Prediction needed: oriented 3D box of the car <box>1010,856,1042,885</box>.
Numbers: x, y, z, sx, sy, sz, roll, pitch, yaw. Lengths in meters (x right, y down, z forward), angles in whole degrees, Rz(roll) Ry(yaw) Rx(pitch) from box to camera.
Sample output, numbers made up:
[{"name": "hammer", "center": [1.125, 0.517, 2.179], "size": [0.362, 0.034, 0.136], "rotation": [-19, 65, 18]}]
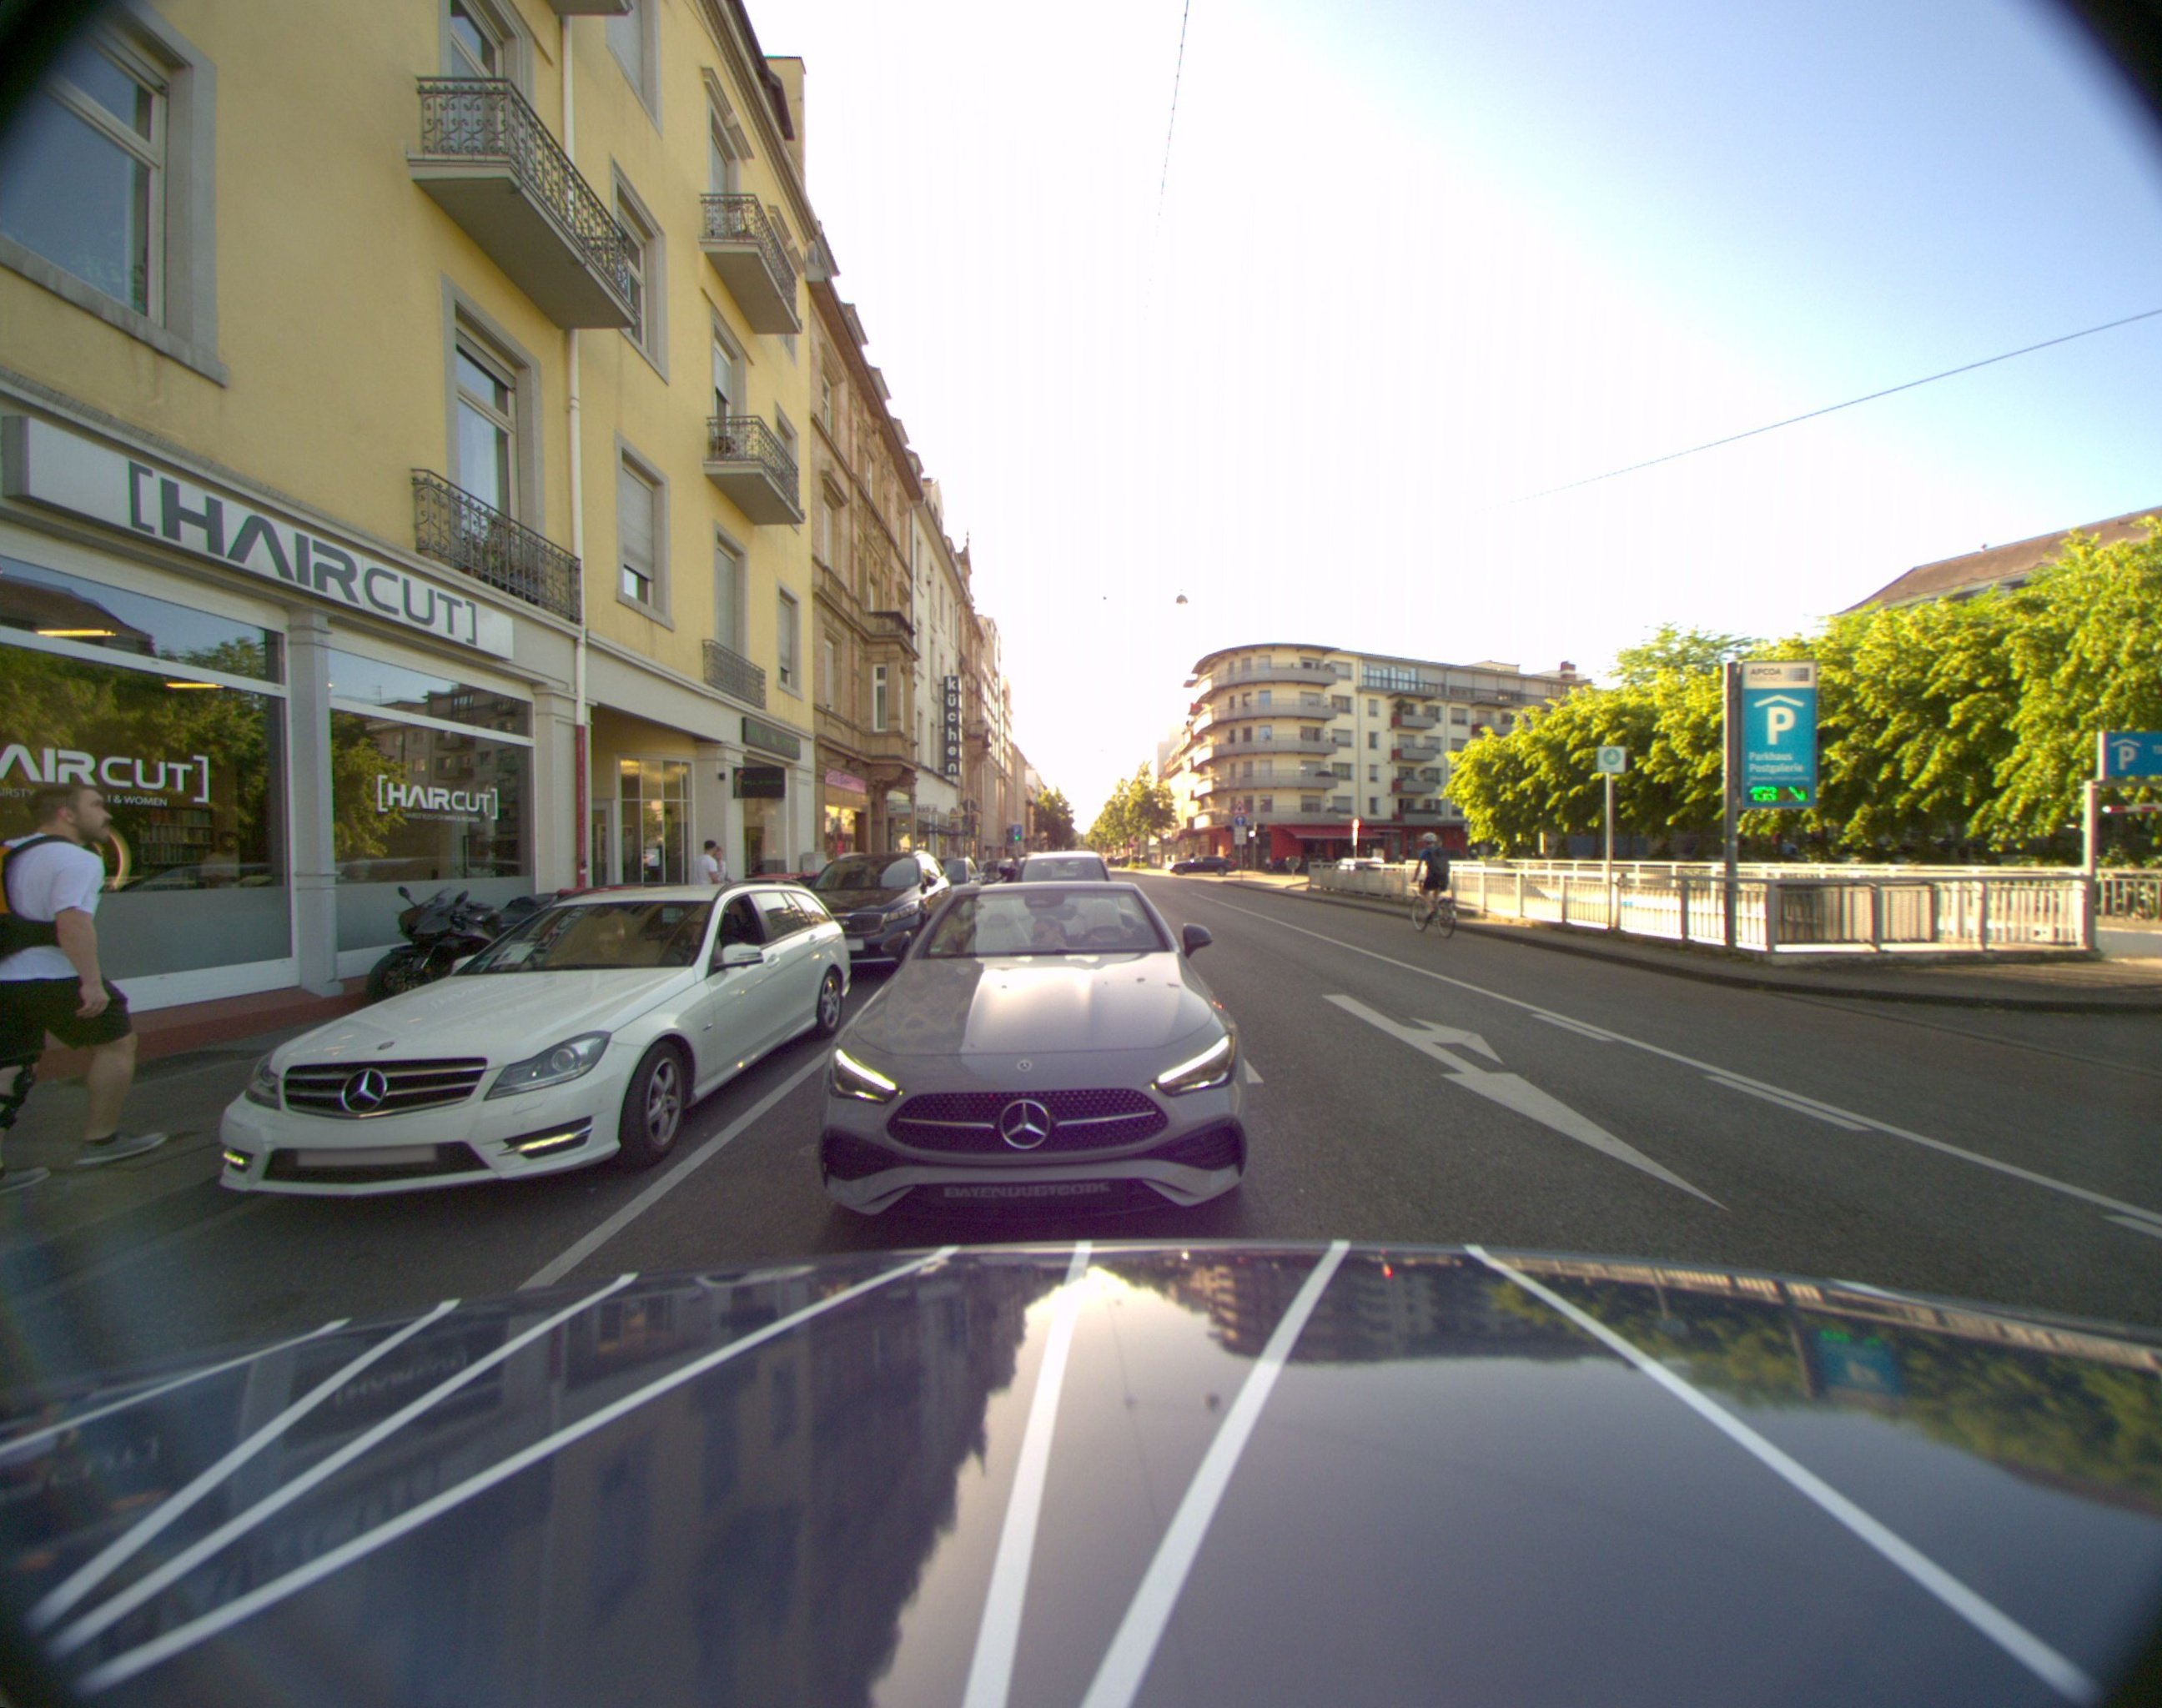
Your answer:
[{"name": "car", "center": [-2.935, 0.864, 40.956], "size": [1.461, 1.391, 3.363], "rotation": [-2, 1, -1]}]

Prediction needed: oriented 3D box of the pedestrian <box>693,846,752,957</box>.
[{"name": "pedestrian", "center": [-6.144, 0.792, 13.067], "size": [0.630, 1.826, 0.770], "rotation": [-2, 1, -7]}]

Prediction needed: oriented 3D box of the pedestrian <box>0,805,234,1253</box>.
[{"name": "pedestrian", "center": [-4.748, 0.702, 3.383], "size": [0.810, 1.812, 0.982], "rotation": [0, 1, 4]}]

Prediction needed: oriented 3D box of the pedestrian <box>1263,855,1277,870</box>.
[{"name": "pedestrian", "center": [14.930, 0.663, 60.044], "size": [0.780, 1.191, 0.884], "rotation": [-2, 1, -10]}]

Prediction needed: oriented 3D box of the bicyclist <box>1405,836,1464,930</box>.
[{"name": "bicyclist", "center": [6.591, 0.525, 14.203], "size": [0.703, 1.700, 0.810], "rotation": [0, 1, 0]}]

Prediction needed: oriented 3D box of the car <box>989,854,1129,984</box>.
[{"name": "car", "center": [-0.360, 0.891, 12.764], "size": [1.866, 1.658, 4.706], "rotation": [-2, 1, -2]}]

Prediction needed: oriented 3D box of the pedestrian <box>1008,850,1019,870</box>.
[{"name": "pedestrian", "center": [-5.977, 0.527, 67.590], "size": [0.826, 1.750, 0.823], "rotation": [-2, 1, -1]}]

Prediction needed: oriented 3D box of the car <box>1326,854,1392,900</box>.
[{"name": "car", "center": [10.537, 0.823, 29.045], "size": [1.636, 1.521, 3.910], "rotation": [-2, 1, 9]}]

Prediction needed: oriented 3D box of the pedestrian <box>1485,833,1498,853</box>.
[{"name": "pedestrian", "center": [38.369, -1.002, 71.034], "size": [0.747, 1.832, 0.684], "rotation": [-2, 1, 1]}]

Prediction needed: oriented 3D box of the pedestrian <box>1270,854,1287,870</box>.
[{"name": "pedestrian", "center": [15.437, 0.651, 59.386], "size": [0.937, 1.191, 0.832], "rotation": [-3, 1, -24]}]

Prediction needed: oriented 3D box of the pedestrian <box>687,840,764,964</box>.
[{"name": "pedestrian", "center": [-5.615, 0.726, 12.020], "size": [0.975, 1.866, 0.534], "rotation": [-3, 1, -31]}]

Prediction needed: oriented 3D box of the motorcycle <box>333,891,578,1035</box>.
[{"name": "motorcycle", "center": [-6.251, 1.021, 7.795], "size": [0.735, 1.124, 2.109], "rotation": [2, 1, 1]}]

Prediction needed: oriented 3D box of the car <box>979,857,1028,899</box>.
[{"name": "car", "center": [-3.020, 0.901, 30.319], "size": [1.695, 1.482, 3.796], "rotation": [-2, 1, -3]}]

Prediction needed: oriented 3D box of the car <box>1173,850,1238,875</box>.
[{"name": "car", "center": [8.638, 0.571, 52.472], "size": [4.242, 1.521, 1.678], "rotation": [-2, 1, 14]}]

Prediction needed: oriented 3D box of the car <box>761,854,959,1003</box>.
[{"name": "car", "center": [-3.008, 0.888, 11.344], "size": [1.806, 1.680, 4.408], "rotation": [-2, 1, -3]}]

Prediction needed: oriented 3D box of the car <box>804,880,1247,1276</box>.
[{"name": "car", "center": [-0.277, 0.995, 5.364], "size": [1.769, 1.360, 4.471], "rotation": [-2, 1, -2]}]

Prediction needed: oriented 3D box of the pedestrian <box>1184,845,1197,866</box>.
[{"name": "pedestrian", "center": [9.958, 0.122, 69.165], "size": [0.990, 1.908, 0.790], "rotation": [-2, 1, -3]}]

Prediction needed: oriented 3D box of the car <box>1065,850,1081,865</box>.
[{"name": "car", "center": [-0.914, 0.400, 87.357], "size": [1.695, 1.635, 3.599], "rotation": [-2, 1, -1]}]

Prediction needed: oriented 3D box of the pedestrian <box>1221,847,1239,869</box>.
[{"name": "pedestrian", "center": [11.965, 0.338, 60.998], "size": [1.063, 1.739, 0.960], "rotation": [-3, 1, -30]}]

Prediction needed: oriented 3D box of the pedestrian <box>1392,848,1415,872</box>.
[{"name": "pedestrian", "center": [22.594, 0.413, 53.214], "size": [1.270, 1.656, 1.141], "rotation": [-2, 1, 14]}]

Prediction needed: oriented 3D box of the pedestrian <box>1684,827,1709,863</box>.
[{"name": "pedestrian", "center": [31.769, -0.447, 39.224], "size": [0.748, 1.832, 0.683], "rotation": [-3, 1, -21]}]

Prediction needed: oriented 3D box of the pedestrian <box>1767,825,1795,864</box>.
[{"name": "pedestrian", "center": [33.631, -0.437, 36.507], "size": [0.748, 1.832, 0.683], "rotation": [-2, 1, -13]}]

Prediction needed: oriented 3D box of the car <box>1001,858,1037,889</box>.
[{"name": "car", "center": [-2.948, 0.899, 36.687], "size": [1.461, 1.310, 3.363], "rotation": [-2, 1, -1]}]

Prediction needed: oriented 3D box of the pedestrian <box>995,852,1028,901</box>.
[{"name": "pedestrian", "center": [-2.478, 0.792, 27.061], "size": [0.836, 1.709, 0.821], "rotation": [-2, 1, 19]}]

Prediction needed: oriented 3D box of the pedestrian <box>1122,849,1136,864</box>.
[{"name": "pedestrian", "center": [5.982, 0.271, 95.105], "size": [1.224, 1.826, 1.200], "rotation": [-3, 1, -28]}]

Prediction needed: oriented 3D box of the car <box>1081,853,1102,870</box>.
[{"name": "car", "center": [0.960, 0.670, 71.362], "size": [1.695, 1.437, 3.575], "rotation": [-2, 1, -3]}]

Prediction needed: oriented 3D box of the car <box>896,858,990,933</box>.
[{"name": "car", "center": [-3.177, 0.903, 17.996], "size": [1.583, 1.514, 2.998], "rotation": [-2, 1, 1]}]

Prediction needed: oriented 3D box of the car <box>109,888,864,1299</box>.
[{"name": "car", "center": [-3.022, 1.070, 5.253], "size": [1.672, 1.364, 4.377], "rotation": [-2, 1, 1]}]

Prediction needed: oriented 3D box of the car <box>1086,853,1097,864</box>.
[{"name": "car", "center": [1.867, 0.846, 140.478], "size": [1.836, 1.831, 3.886], "rotation": [1, 1, -2]}]

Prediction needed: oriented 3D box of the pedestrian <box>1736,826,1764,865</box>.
[{"name": "pedestrian", "center": [32.324, -0.399, 36.705], "size": [0.748, 1.852, 0.683], "rotation": [-2, 1, -13]}]

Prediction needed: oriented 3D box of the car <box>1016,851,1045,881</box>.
[{"name": "car", "center": [-3.146, 0.715, 47.554], "size": [1.695, 1.670, 3.880], "rotation": [-2, 1, -3]}]

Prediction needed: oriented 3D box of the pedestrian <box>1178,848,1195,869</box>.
[{"name": "pedestrian", "center": [9.013, 0.394, 64.731], "size": [1.070, 1.709, 1.079], "rotation": [-2, 1, -12]}]

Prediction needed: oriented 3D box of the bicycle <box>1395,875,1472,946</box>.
[{"name": "bicycle", "center": [6.583, 1.021, 14.296], "size": [0.617, 1.156, 1.958], "rotation": [1, 1, 3]}]
